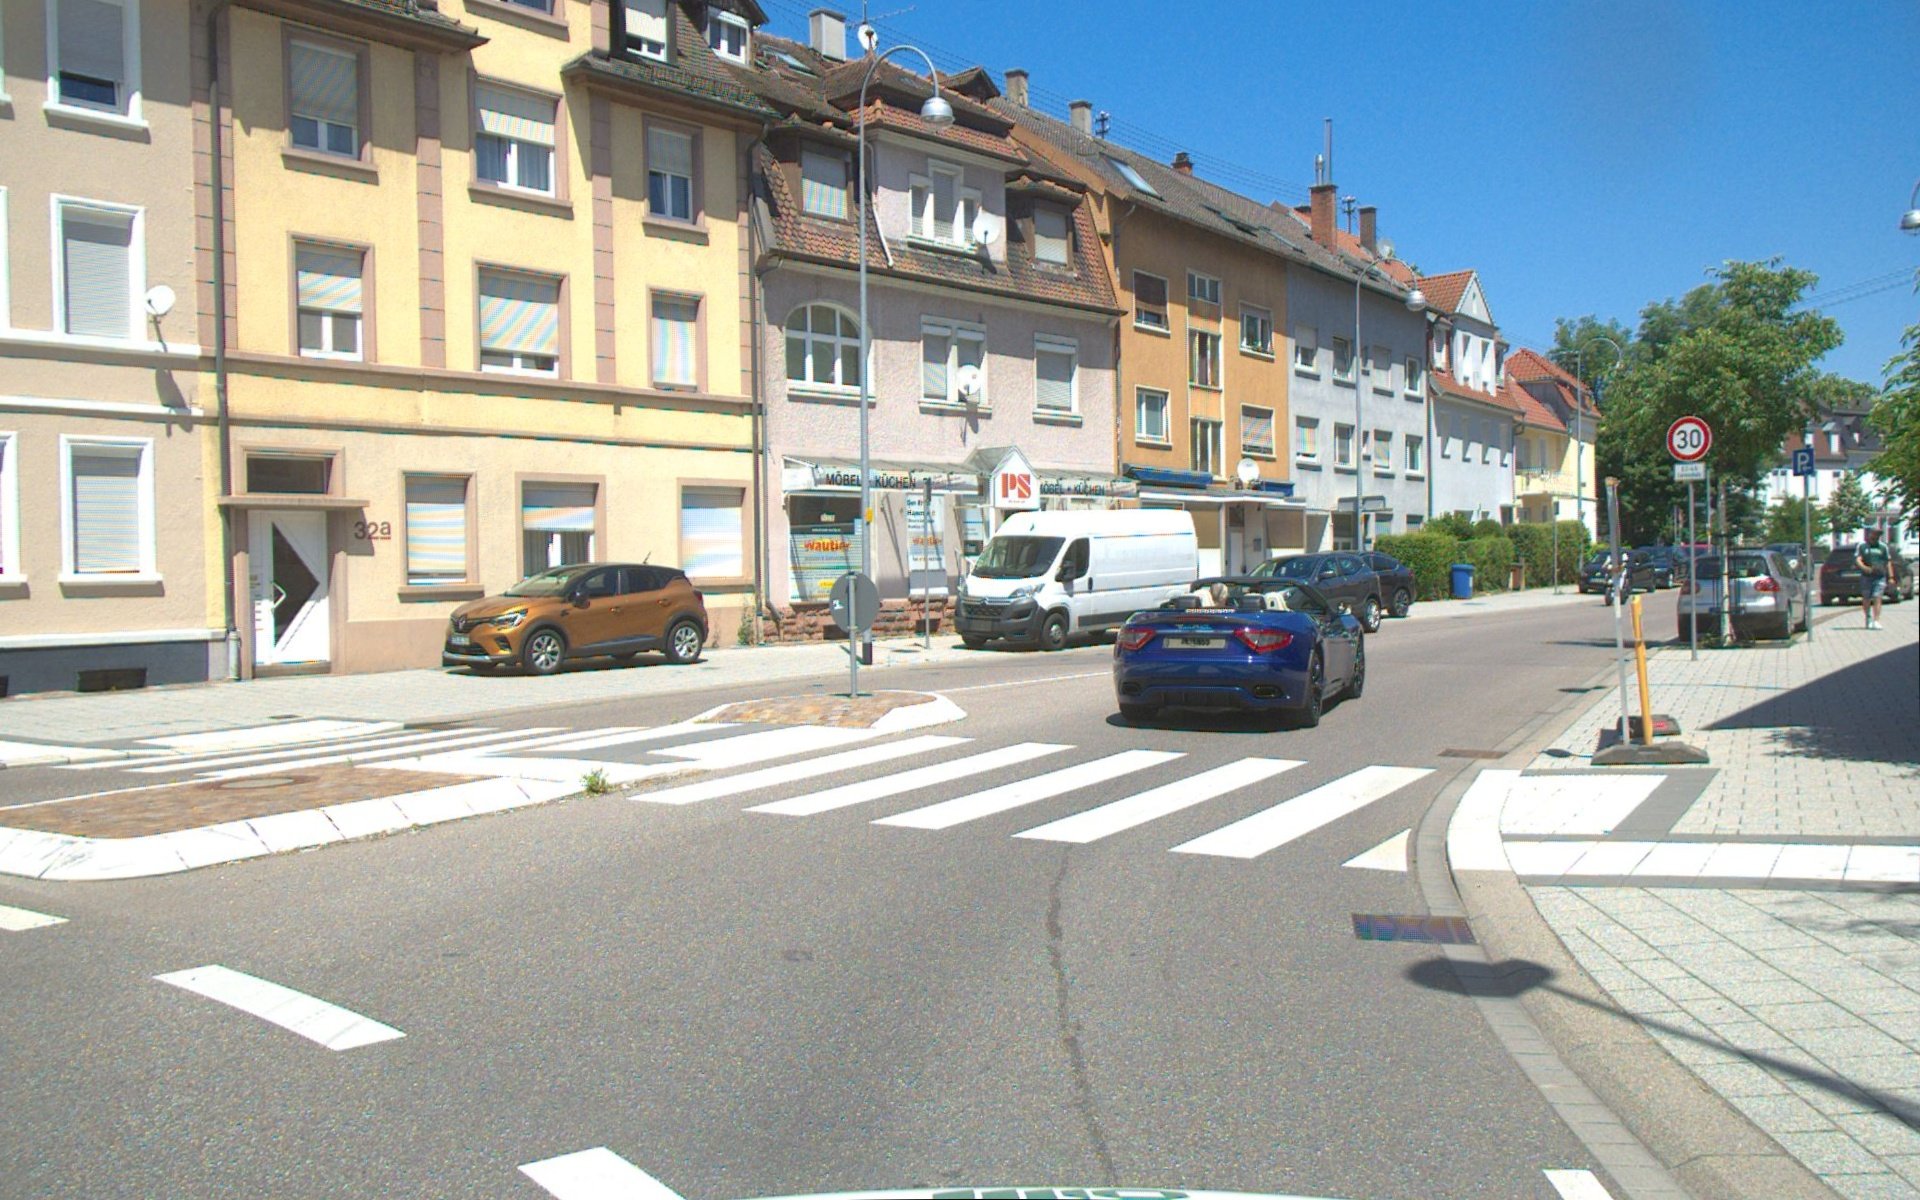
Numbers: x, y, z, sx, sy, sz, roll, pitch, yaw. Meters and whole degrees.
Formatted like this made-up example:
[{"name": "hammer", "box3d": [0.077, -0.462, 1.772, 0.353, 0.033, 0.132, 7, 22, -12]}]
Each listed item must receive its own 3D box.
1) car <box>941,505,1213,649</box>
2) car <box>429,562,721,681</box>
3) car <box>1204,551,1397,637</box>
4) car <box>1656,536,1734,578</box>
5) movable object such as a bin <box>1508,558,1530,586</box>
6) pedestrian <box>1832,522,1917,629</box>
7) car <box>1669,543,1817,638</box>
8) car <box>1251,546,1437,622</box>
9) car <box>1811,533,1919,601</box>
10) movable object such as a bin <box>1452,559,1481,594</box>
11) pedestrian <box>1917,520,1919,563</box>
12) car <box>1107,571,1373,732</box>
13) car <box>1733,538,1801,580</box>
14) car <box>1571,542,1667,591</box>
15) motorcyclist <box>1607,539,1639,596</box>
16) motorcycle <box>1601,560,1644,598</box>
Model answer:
[{"name": "car", "box3d": [2.370, -0.532, 31.631, 2.086, 2.491, 6.087, 2, 3, 39]}, {"name": "car", "box3d": [-5.767, 0.250, 25.170, 1.767, 1.568, 4.094, 1, 3, 40]}, {"name": "car", "box3d": [6.594, -0.146, 31.729, 1.768, 1.515, 4.368, -1, 1, 40]}, {"name": "car", "box3d": [29.319, -1.743, 65.882, 1.847, 1.505, 4.720, 3, 4, 36]}, {"name": "movable object such as a bin", "box3d": [19.330, -0.979, 57.186, 0.486, 0.927, 0.703, -1, 1, 36]}, {"name": "pedestrian", "box3d": [15.978, -0.418, 28.883, 1.150, 1.763, 1.188, -4, -1, 32]}, {"name": "car", "box3d": [13.764, -0.191, 28.938, 1.780, 1.502, 4.495, -2, 0, 32]}, {"name": "car", "box3d": [9.399, -0.438, 40.235, 5.071, 1.642, 2.058, -3, 3, -45]}, {"name": "car", "box3d": [23.316, -0.887, 42.499, 1.803, 1.530, 5.045, -3, 0, 36]}, {"name": "movable object such as a bin", "box3d": [15.658, -0.730, 51.119, 0.661, 1.066, 0.650, -2, 1, 36]}, {"name": "pedestrian", "box3d": [17.512, -0.520, 29.345, 0.774, 1.842, 1.003, -4, 0, 33]}, {"name": "car", "box3d": [2.962, 0.399, 16.622, 1.832, 1.365, 4.597, 0, 1, 20]}, {"name": "car", "box3d": [30.747, -1.573, 62.947, 1.701, 1.436, 3.988, -3, 1, 34]}, {"name": "car", "box3d": [22.244, -1.156, 55.765, 1.761, 1.484, 4.176, 3, 5, 40]}, {"name": "motorcyclist", "box3d": [18.328, -0.890, 45.717, 0.592, 1.551, 0.891, -1, 1, 38]}, {"name": "motorcycle", "box3d": [18.334, -0.587, 45.732, 0.596, 1.017, 1.791, -1, 1, 39]}]
